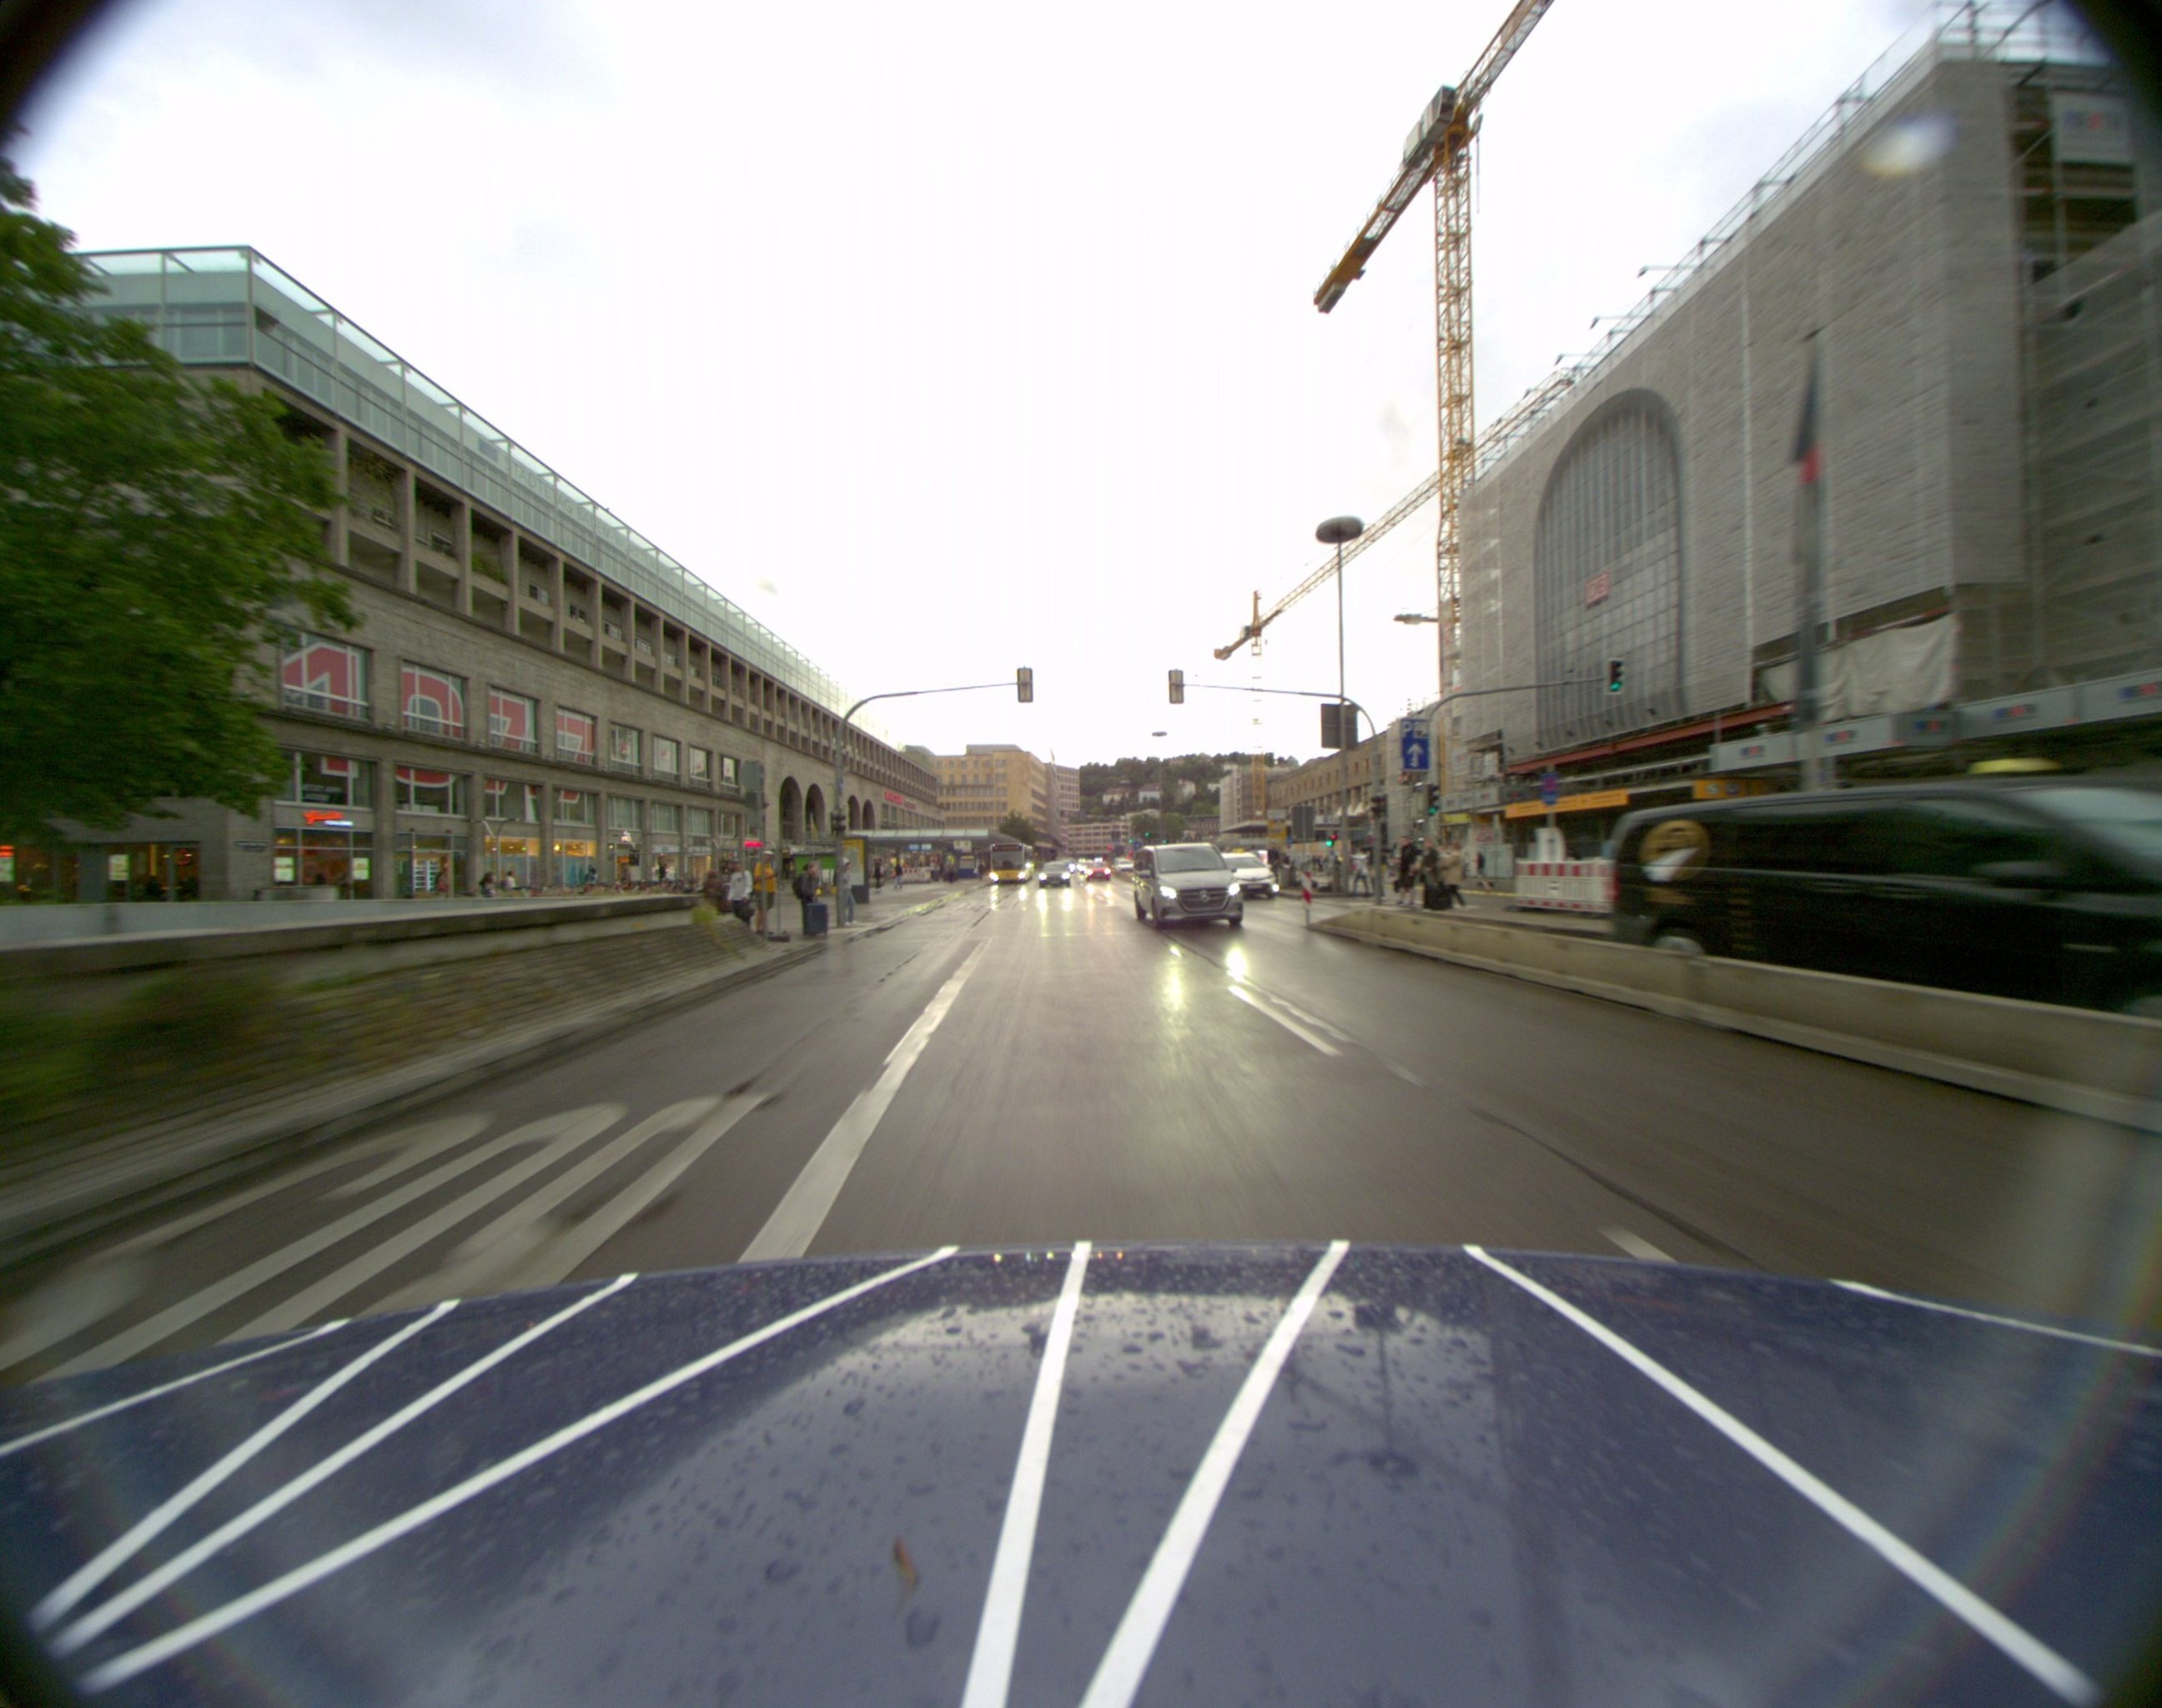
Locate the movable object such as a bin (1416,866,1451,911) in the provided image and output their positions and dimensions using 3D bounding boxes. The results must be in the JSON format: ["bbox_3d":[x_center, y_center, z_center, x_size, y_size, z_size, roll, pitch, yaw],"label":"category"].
[{"bbox_3d":[8.696,0.847,18.771,0.743,1.070,0.750,-1,0,22],"label":"movable object such as a bin"}]

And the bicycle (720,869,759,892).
[{"bbox_3d":[-19.374,1.496,43.087,1.993,1.230,0.618,1,0,10],"label":"bicycle"}]

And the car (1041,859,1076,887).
[{"bbox_3d":[-1.344,1.123,47.078,1.823,1.455,4.700,-4,0,1],"label":"car"}]

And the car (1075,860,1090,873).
[{"bbox_3d":[0.189,1.703,104.604,1.872,1.715,3.901,-2,1,0],"label":"car"}]

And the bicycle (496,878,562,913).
[{"bbox_3d":[-20.241,1.530,27.881,1.994,1.230,0.618,1,0,1],"label":"bicycle"}]

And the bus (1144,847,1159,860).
[{"bbox_3d":[19.104,-0.155,206.686,2.916,3.557,19.080,0,0,2],"label":"bus"}]

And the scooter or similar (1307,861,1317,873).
[{"bbox_3d":[19.940,1.121,65.606,0.459,1.060,1.242,-1,0,35],"label":"scooter or similar"}]

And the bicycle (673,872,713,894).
[{"bbox_3d":[-19.667,1.475,38.549,1.738,1.102,0.687,0,0,-23],"label":"bicycle"}]

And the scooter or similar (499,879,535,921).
[{"bbox_3d":[-18.393,1.479,24.803,0.622,1.253,1.748,-3,1,-28],"label":"scooter or similar"}]

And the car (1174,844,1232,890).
[{"bbox_3d":[5.351,0.554,33.849,1.718,1.881,4.609,-1,0,-1],"label":"car"}]

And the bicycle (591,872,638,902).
[{"bbox_3d":[-20.102,1.417,32.753,1.620,1.218,0.618,1,0,1],"label":"bicycle"}]

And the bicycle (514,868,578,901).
[{"bbox_3d":[-20.231,1.150,28.738,1.994,1.230,0.618,1,0,1],"label":"bicycle"}]

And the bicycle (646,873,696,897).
[{"bbox_3d":[-19.851,1.482,36.833,1.984,1.102,0.824,0,0,-15],"label":"bicycle"}]

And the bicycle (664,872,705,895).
[{"bbox_3d":[-19.657,1.466,37.702,1.696,1.102,0.673,0,0,-16],"label":"bicycle"}]

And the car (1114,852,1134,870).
[{"bbox_3d":[4.628,0.712,82.500,1.998,1.851,4.833,-1,0,1],"label":"car"}]

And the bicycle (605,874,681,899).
[{"bbox_3d":[-20.093,1.470,34.908,2.887,1.102,0.879,0,0,-13],"label":"bicycle"}]

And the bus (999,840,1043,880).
[{"bbox_3d":[-5.285,0.463,68.404,3.149,3.229,9.134,-2,1,0],"label":"bus"}]

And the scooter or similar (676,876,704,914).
[{"bbox_3d":[-13.193,1.369,25.660,0.325,1.230,1.099,-2,1,0],"label":"scooter or similar"}]

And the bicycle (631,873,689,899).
[{"bbox_3d":[-19.848,1.499,35.899,2.234,1.103,0.741,-2,1,-16],"label":"bicycle"}]

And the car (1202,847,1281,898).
[{"bbox_3d":[5.686,0.611,27.442,1.791,1.675,4.666,-1,0,-1],"label":"car"}]

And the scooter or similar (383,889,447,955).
[{"bbox_3d":[-13.862,1.382,15.852,0.374,1.251,1.314,-3,1,-13],"label":"scooter or similar"}]

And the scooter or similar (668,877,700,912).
[{"bbox_3d":[-14.535,1.463,27.789,1.366,1.224,0.570,-2,1,44],"label":"scooter or similar"}]

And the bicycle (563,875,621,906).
[{"bbox_3d":[-20.180,1.490,31.363,1.994,1.230,0.618,1,0,1],"label":"bicycle"}]

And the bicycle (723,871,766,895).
[{"bbox_3d":[-18.540,1.568,41.876,0.616,1.230,2.193,1,0,34],"label":"bicycle"}]

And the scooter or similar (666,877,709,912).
[{"bbox_3d":[-14.888,1.533,28.772,1.308,1.249,0.592,-2,1,-15],"label":"scooter or similar"}]

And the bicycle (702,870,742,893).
[{"bbox_3d":[-19.955,1.523,42.216,1.993,1.230,0.618,1,0,9],"label":"bicycle"}]

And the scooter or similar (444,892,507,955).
[{"bbox_3d":[-12.684,1.432,15.943,0.353,1.210,1.158,-3,1,-2],"label":"scooter or similar"}]

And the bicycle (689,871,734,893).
[{"bbox_3d":[-19.374,1.461,39.832,2.093,1.133,0.888,0,0,-27],"label":"bicycle"}]

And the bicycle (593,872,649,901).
[{"bbox_3d":[-20.267,1.431,33.507,1.997,1.230,0.617,0,0,-14],"label":"bicycle"}]

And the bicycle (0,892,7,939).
[{"bbox_3d":[-25.325,1.415,16.635,0.617,1.095,2.026,1,0,7],"label":"bicycle"}]

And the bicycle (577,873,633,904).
[{"bbox_3d":[-20.114,1.447,32.120,1.994,1.258,0.618,1,0,1],"label":"bicycle"}]

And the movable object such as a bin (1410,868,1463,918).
[{"bbox_3d":[7.858,0.852,16.833,1.005,1.070,0.750,-1,0,22],"label":"movable object such as a bin"}]

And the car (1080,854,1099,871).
[{"bbox_3d":[0.887,0.889,81.629,1.872,1.747,3.901,-2,1,0],"label":"car"}]

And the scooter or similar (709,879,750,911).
[{"bbox_3d":[-13.407,1.549,29.019,0.437,1.123,1.368,-4,0,25],"label":"scooter or similar"}]

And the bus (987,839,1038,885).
[{"bbox_3d":[-5.202,0.553,59.227,3.121,3.186,9.240,-2,1,-1],"label":"bus"}]

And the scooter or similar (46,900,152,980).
[{"bbox_3d":[-18.069,1.552,14.019,0.410,1.324,1.314,-3,1,-13],"label":"scooter or similar"}]

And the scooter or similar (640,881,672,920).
[{"bbox_3d":[-14.658,1.595,26.242,0.370,1.274,1.173,-2,1,0],"label":"scooter or similar"}]

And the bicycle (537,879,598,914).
[{"bbox_3d":[-20.249,1.676,29.999,1.994,1.327,0.618,1,0,1],"label":"bicycle"}]

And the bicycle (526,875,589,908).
[{"bbox_3d":[-20.229,1.452,29.360,1.994,1.230,0.618,1,0,1],"label":"bicycle"}]

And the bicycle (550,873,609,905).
[{"bbox_3d":[-20.235,1.417,30.671,1.994,1.230,0.618,1,0,1],"label":"bicycle"}]

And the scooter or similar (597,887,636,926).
[{"bbox_3d":[-15.153,1.706,24.777,1.363,1.243,0.439,-2,1,30],"label":"scooter or similar"}]

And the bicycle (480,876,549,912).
[{"bbox_3d":[-20.153,1.410,27.030,1.994,1.230,0.618,1,0,1],"label":"bicycle"}]

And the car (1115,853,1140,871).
[{"bbox_3d":[4.653,0.749,76.552,1.999,1.696,4.831,-1,0,-2],"label":"car"}]

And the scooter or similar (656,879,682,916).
[{"bbox_3d":[-14.167,1.482,26.148,0.306,1.200,0.957,-2,1,0],"label":"scooter or similar"}]
